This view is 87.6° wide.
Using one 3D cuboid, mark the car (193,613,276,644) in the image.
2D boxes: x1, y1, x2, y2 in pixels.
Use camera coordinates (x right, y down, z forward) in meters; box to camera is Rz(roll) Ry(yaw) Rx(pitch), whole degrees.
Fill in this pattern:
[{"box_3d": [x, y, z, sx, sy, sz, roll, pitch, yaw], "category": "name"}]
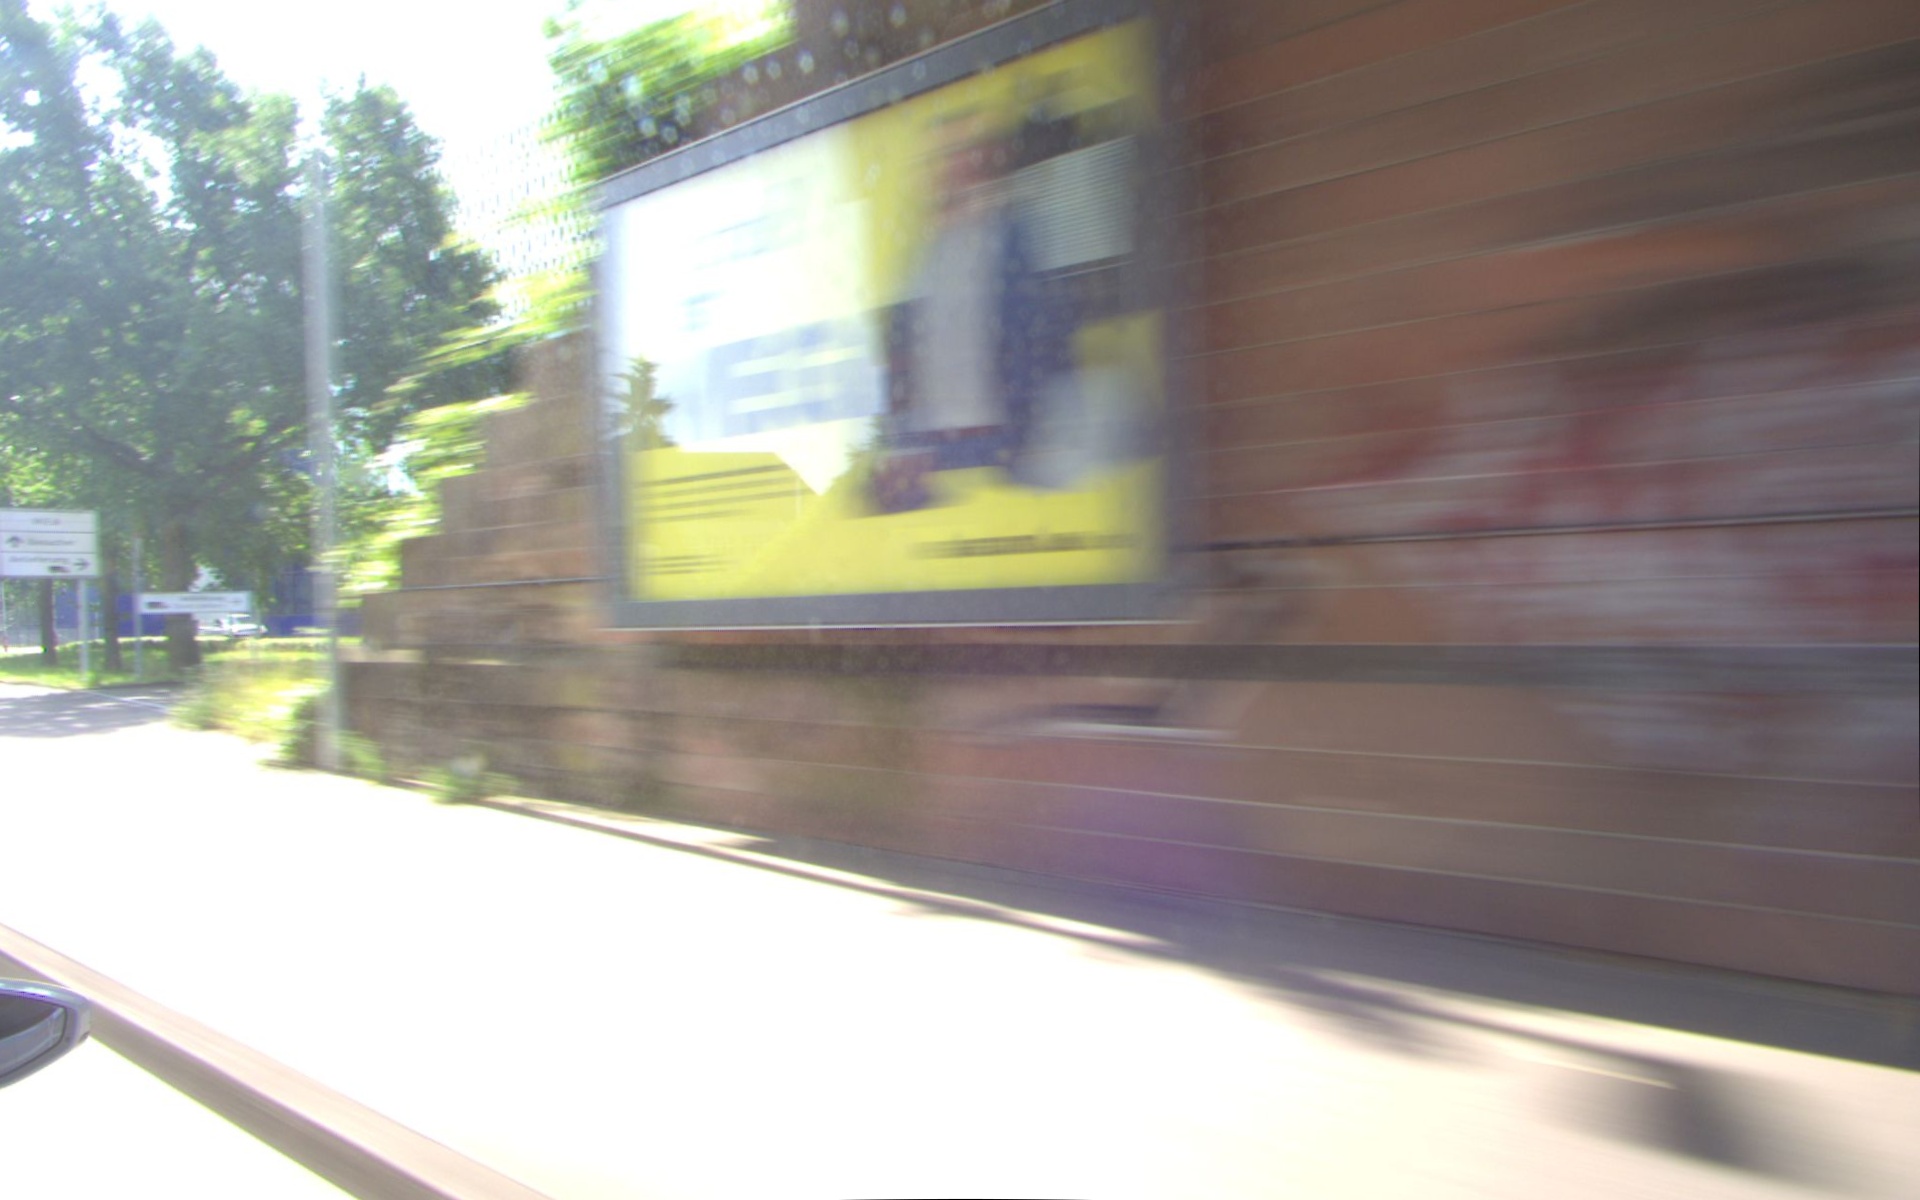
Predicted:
[{"box_3d": [-39.311, 1.562, 54.272, 4.234, 1.660, 1.851, -1, -2, 25], "category": "car"}]
